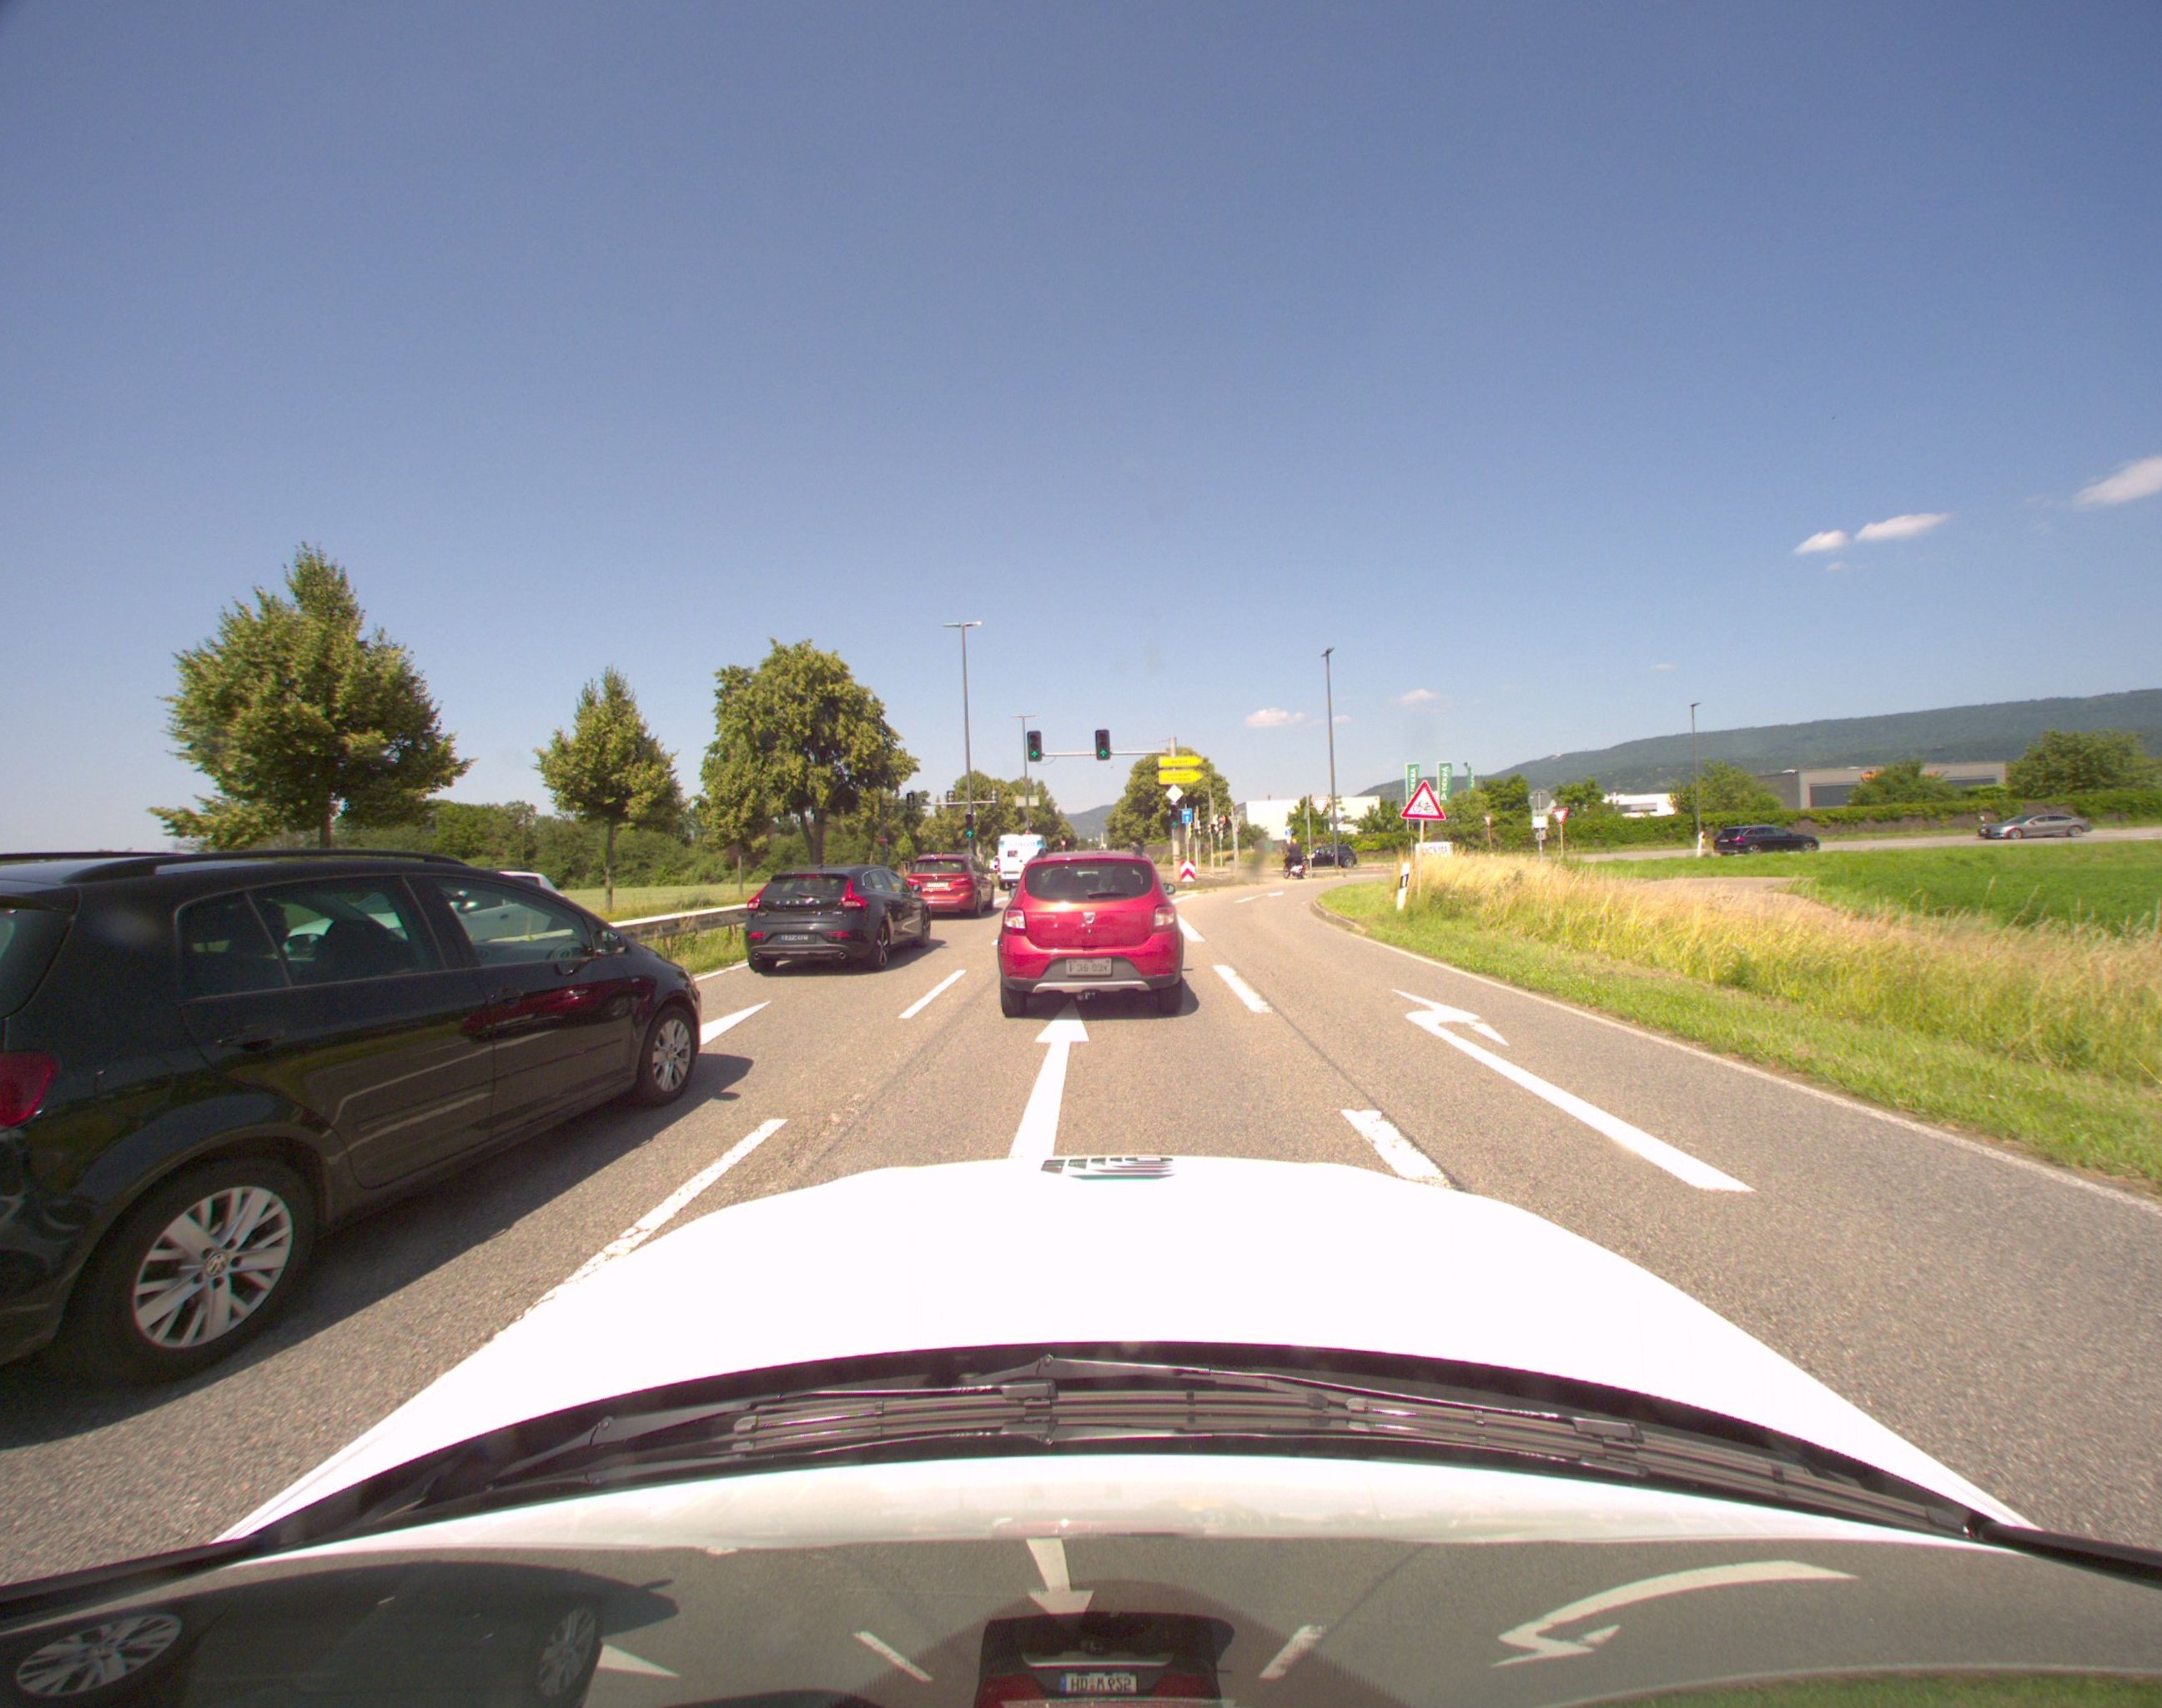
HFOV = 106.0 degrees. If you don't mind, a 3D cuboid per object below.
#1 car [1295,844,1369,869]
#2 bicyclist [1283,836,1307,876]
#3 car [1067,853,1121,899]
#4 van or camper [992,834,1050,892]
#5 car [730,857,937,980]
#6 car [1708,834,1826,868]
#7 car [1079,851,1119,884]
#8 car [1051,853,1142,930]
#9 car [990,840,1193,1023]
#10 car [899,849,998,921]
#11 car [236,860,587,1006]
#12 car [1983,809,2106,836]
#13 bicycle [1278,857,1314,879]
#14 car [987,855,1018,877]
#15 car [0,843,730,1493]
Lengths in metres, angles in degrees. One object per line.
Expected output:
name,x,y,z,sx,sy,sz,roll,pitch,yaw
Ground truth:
car,14.899,0.145,48.577,3.964,1.327,1.810,-3,-1,8
bicyclist,9.783,0.088,37.201,0.800,1.771,0.808,-2,0,-3
car,0.524,0.736,28.942,1.742,1.458,3.680,-1,0,3
van or camper,-2.499,0.343,35.065,2.172,2.303,4.825,-1,0,-1
car,-3.422,0.806,12.065,1.695,1.442,3.958,-1,1,2
car,35.355,-0.156,42.061,4.307,1.616,2.002,-1,0,3
car,0.929,0.609,39.034,1.742,1.458,3.680,-1,0,3
car,0.402,0.728,17.744,1.742,1.458,3.680,-1,0,3
car,0.196,0.677,8.963,1.742,1.575,3.680,-1,0,3
car,-3.231,0.702,20.571,1.718,1.600,3.956,-1,0,1
car,-9.370,0.969,11.950,1.741,1.638,4.133,-3,0,-2
car,56.425,-1.840,47.805,4.328,1.327,1.815,-2,0,19
bicycle,9.817,0.628,37.250,0.760,0.915,2.776,-2,0,-3
car,-6.476,0.988,67.582,1.986,1.670,4.001,-3,0,1
car,-3.418,0.767,3.789,1.716,1.575,3.895,-1,0,2
